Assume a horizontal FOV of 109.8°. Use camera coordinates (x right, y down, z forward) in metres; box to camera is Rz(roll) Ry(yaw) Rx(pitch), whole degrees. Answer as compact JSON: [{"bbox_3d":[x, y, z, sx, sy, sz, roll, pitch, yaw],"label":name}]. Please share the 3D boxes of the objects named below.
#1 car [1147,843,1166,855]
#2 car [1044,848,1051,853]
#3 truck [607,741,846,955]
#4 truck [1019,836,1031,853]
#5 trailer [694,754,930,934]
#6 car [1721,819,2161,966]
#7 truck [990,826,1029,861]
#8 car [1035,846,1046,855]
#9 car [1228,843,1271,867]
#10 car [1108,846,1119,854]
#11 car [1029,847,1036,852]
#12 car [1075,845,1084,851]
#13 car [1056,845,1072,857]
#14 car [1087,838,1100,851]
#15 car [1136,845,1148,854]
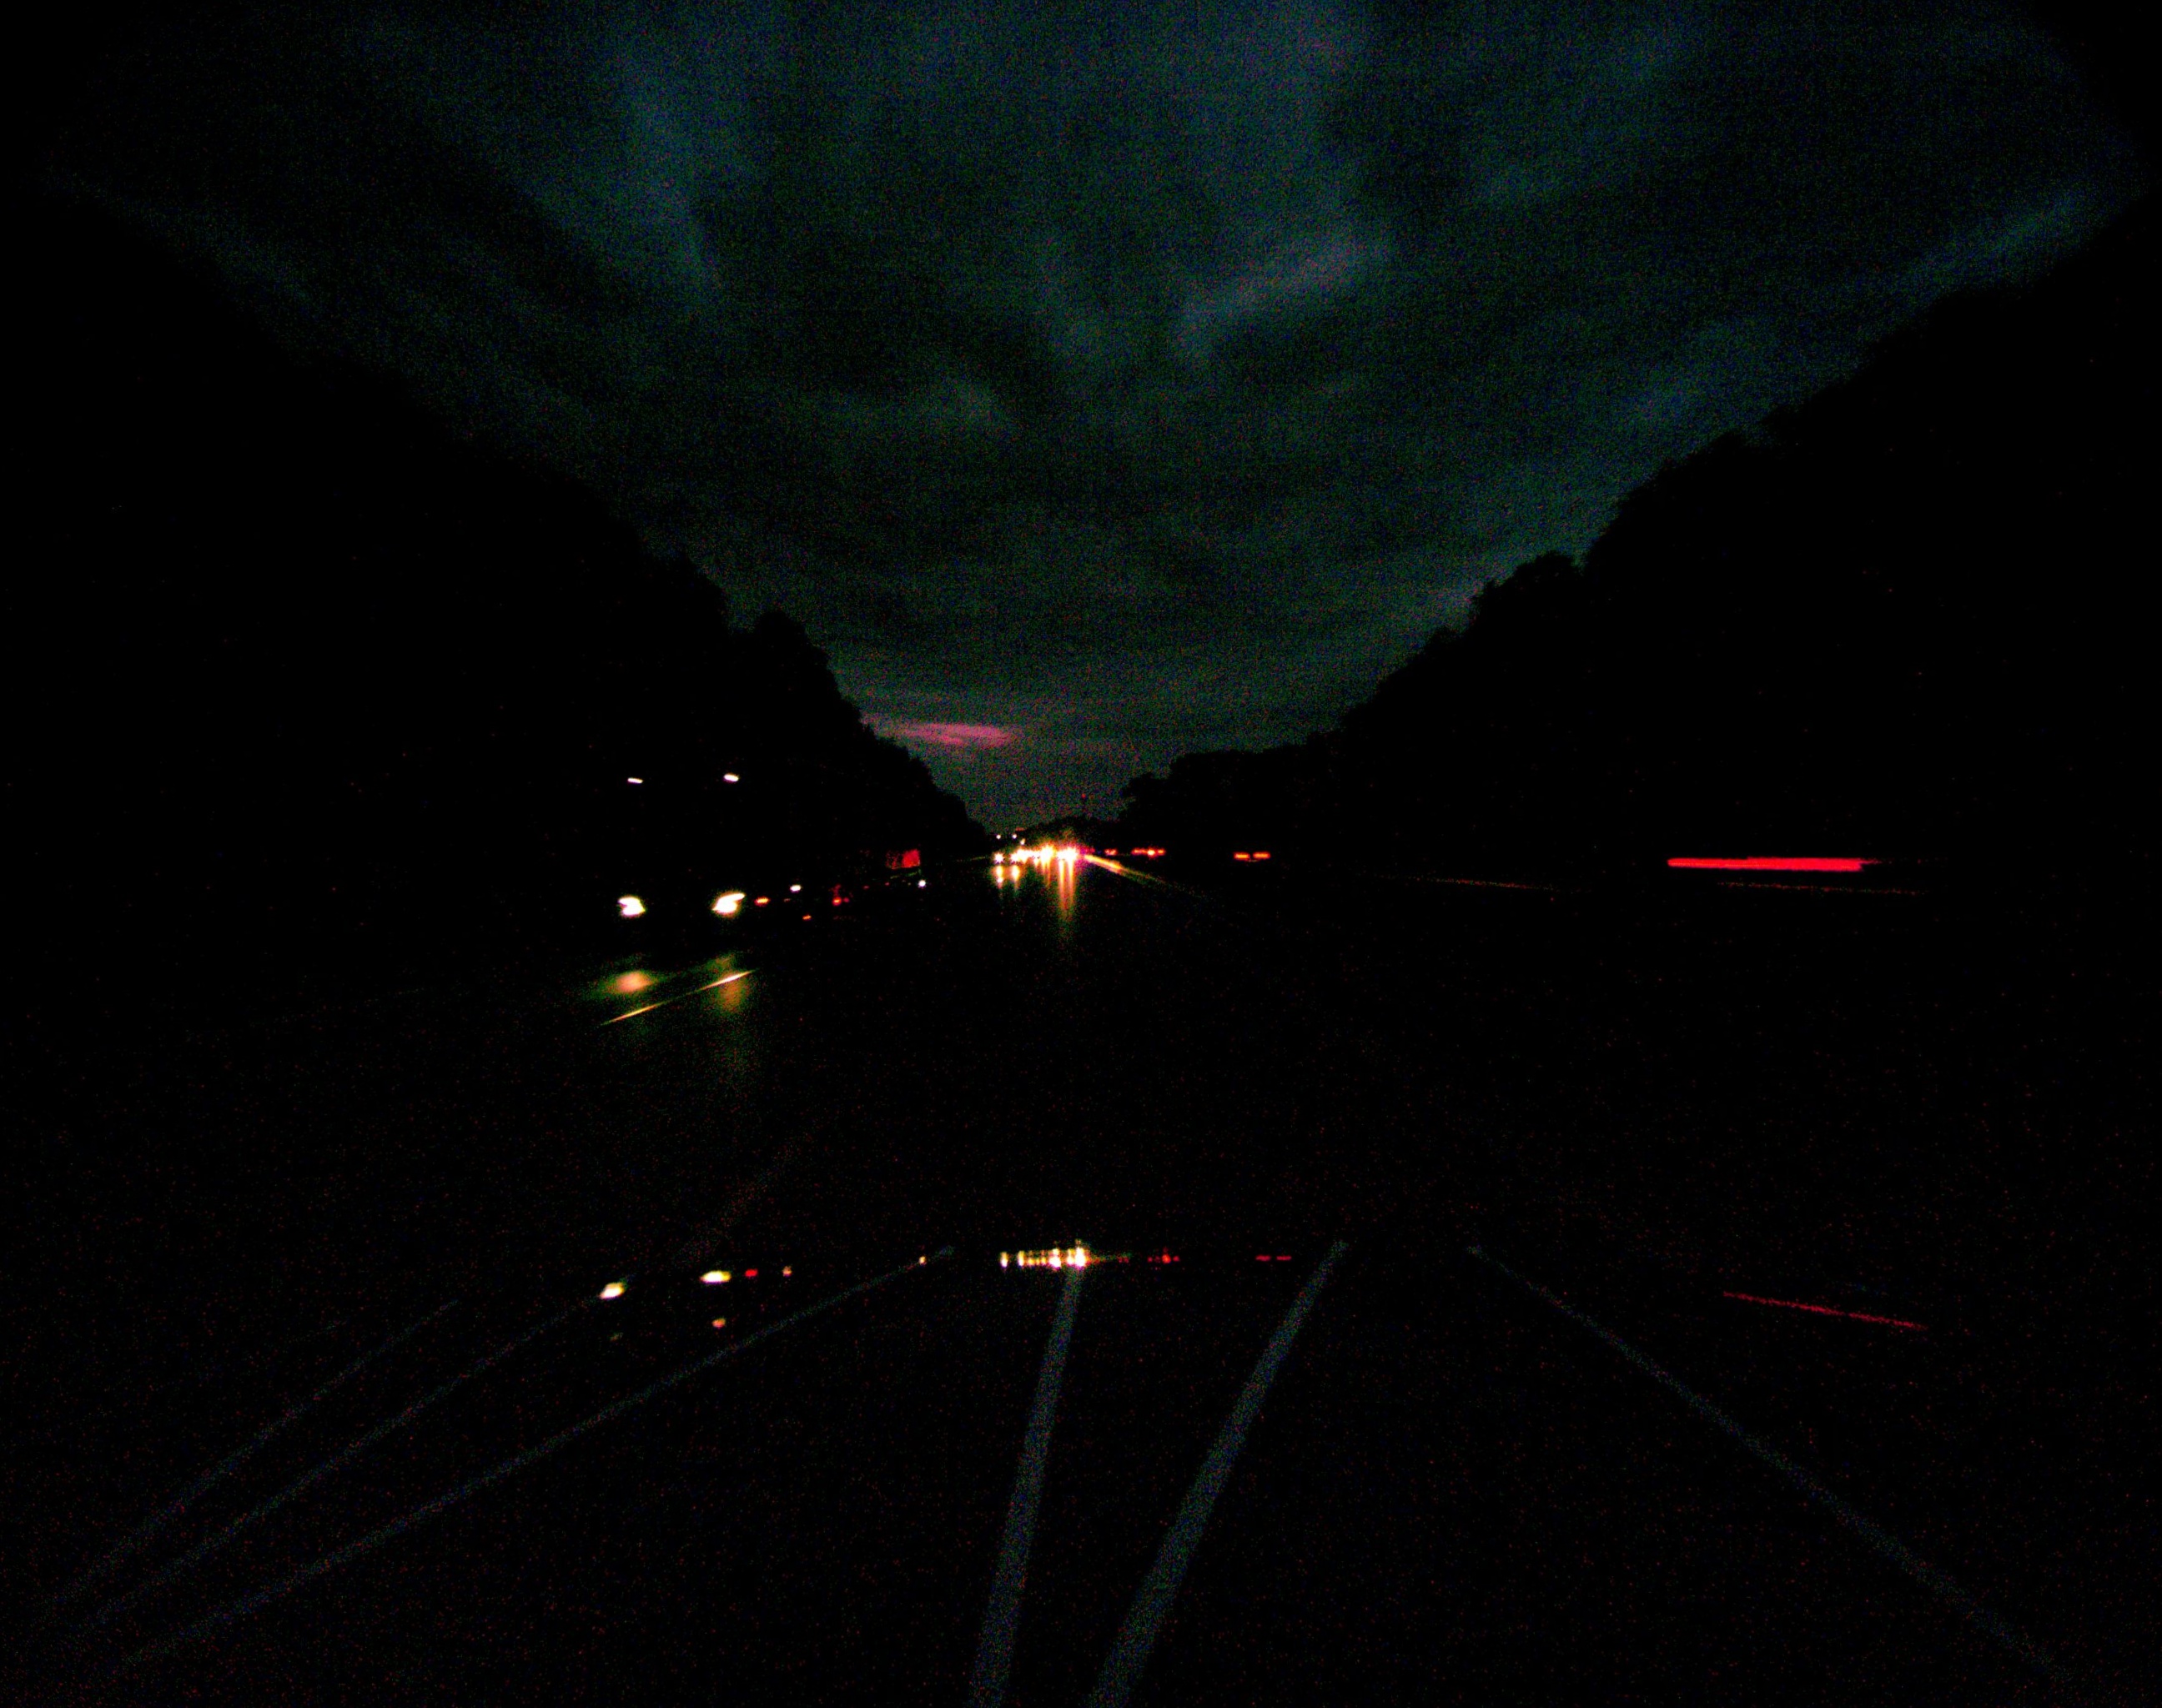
[{"bbox_3d":[11.111,-0.692,112.309,1.924,1.706,5.284,-2,0,-3],"label":"car"},{"bbox_3d":[-9.392,-0.954,214.115,1.696,1.481,4.948,0,0,0],"label":"car"},{"bbox_3d":[-7.537,-0.140,17.101,2.497,3.945,5.590,-2,1,1],"label":"truck"},{"bbox_3d":[-13.561,-2.287,184.411,2.539,3.967,9.791,-2,0,-4],"label":"truck"},{"bbox_3d":[-7.492,-0.293,24.174,2.489,4.049,13.503,-2,1,0],"label":"trailer"},{"bbox_3d":[10.974,0.377,9.952,1.601,1.480,4.230,-2,0,1],"label":"car"},{"bbox_3d":[-8.868,-1.316,95.773,3.341,3.945,13.536,-2,1,1],"label":"truck"},{"bbox_3d":[-7.573,-0.653,142.478,1.923,1.706,4.942,-2,0,0],"label":"car"},{"bbox_3d":[11.158,0.059,50.663,1.824,1.470,4.370,-2,0,0],"label":"car"},{"bbox_3d":[6.823,-0.868,159.708,1.824,1.548,4.335,-1,0,-2],"label":"car"},{"bbox_3d":[-15.875,-1.485,249.306,1.999,1.641,3.999,-2,1,0],"label":"car"},{"bbox_3d":[-0.398,-1.777,217.655,1.999,1.598,4.658,-2,0,-4],"label":"car"},{"bbox_3d":[-2.552,-0.409,116.706,1.869,1.700,4.585,-2,0,5],"label":"car"},{"bbox_3d":[3.854,-3.008,238.027,3.144,3.946,8.599,-2,0,-5],"label":"car"},{"bbox_3d":[11.568,-0.867,144.358,1.891,1.551,5.094,-2,0,-1],"label":"car"}]
